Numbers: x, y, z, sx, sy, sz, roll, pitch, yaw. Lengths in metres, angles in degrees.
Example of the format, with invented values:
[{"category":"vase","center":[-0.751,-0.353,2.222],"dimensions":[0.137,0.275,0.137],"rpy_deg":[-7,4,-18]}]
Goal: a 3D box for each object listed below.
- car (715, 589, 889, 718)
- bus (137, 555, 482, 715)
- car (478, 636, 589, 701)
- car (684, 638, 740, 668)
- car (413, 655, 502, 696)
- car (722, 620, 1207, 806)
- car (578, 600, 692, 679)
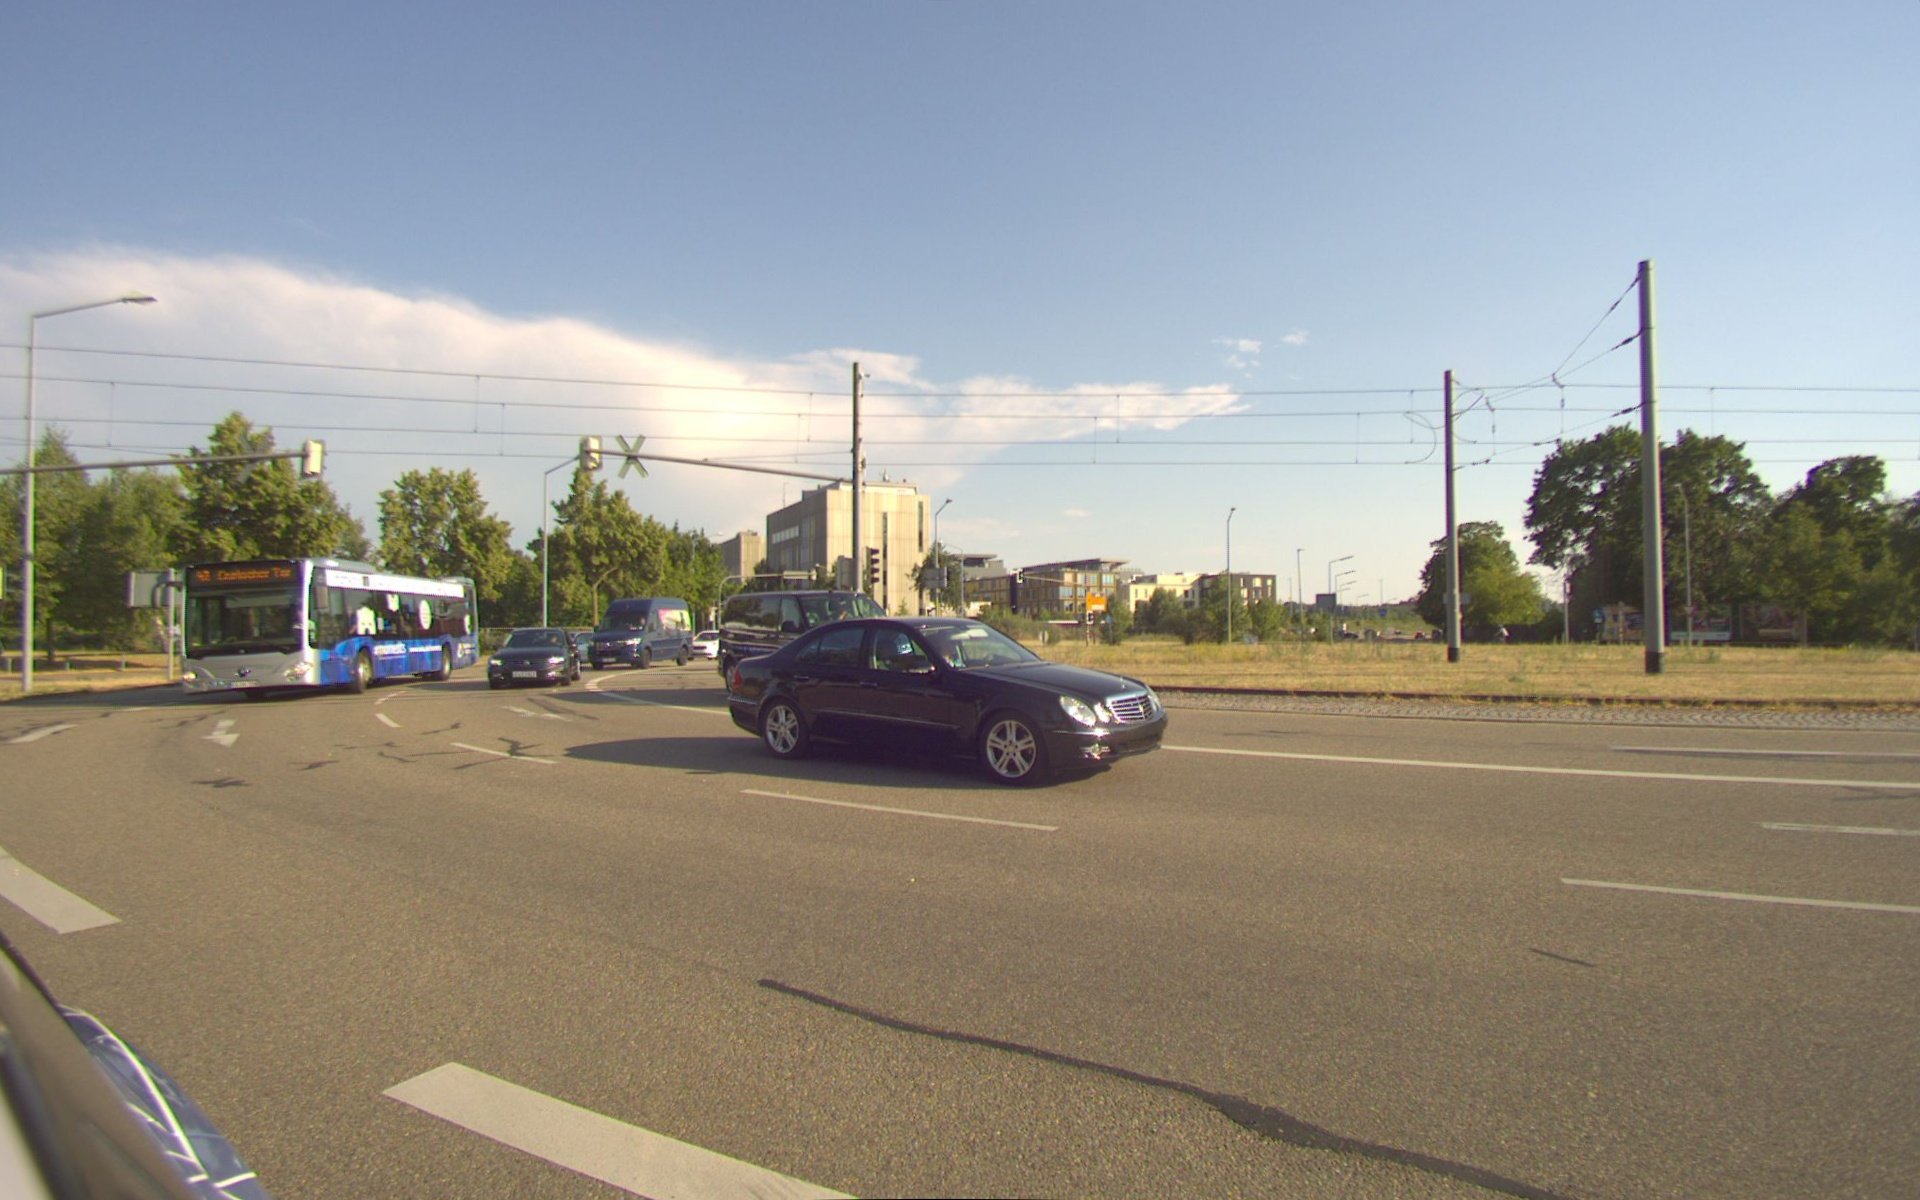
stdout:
[{"category":"car","center":[-3.160,0.956,19.106],"dimensions":[2.058,2.063,5.261],"rpy_deg":[0,-2,-22]},{"category":"bus","center":[-15.542,0.881,25.833],"dimensions":[2.624,3.085,12.200],"rpy_deg":[0,-2,-9]},{"category":"car","center":[-10.491,1.624,25.185],"dimensions":[1.781,1.447,4.398],"rpy_deg":[0,-2,-12]},{"category":"car","center":[-13.244,2.795,54.205],"dimensions":[1.662,1.529,3.992],"rpy_deg":[0,-2,6]},{"category":"car","center":[-20.232,3.017,40.943],"dimensions":[1.969,1.535,4.005],"rpy_deg":[0,-2,-6]},{"category":"car","center":[-0.151,0.911,9.928],"dimensions":[4.697,1.417,1.819],"rpy_deg":[-1,-2,40]},{"category":"car","center":[-11.792,1.475,37.181],"dimensions":[1.975,2.614,5.476],"rpy_deg":[-2,-3,5]}]
